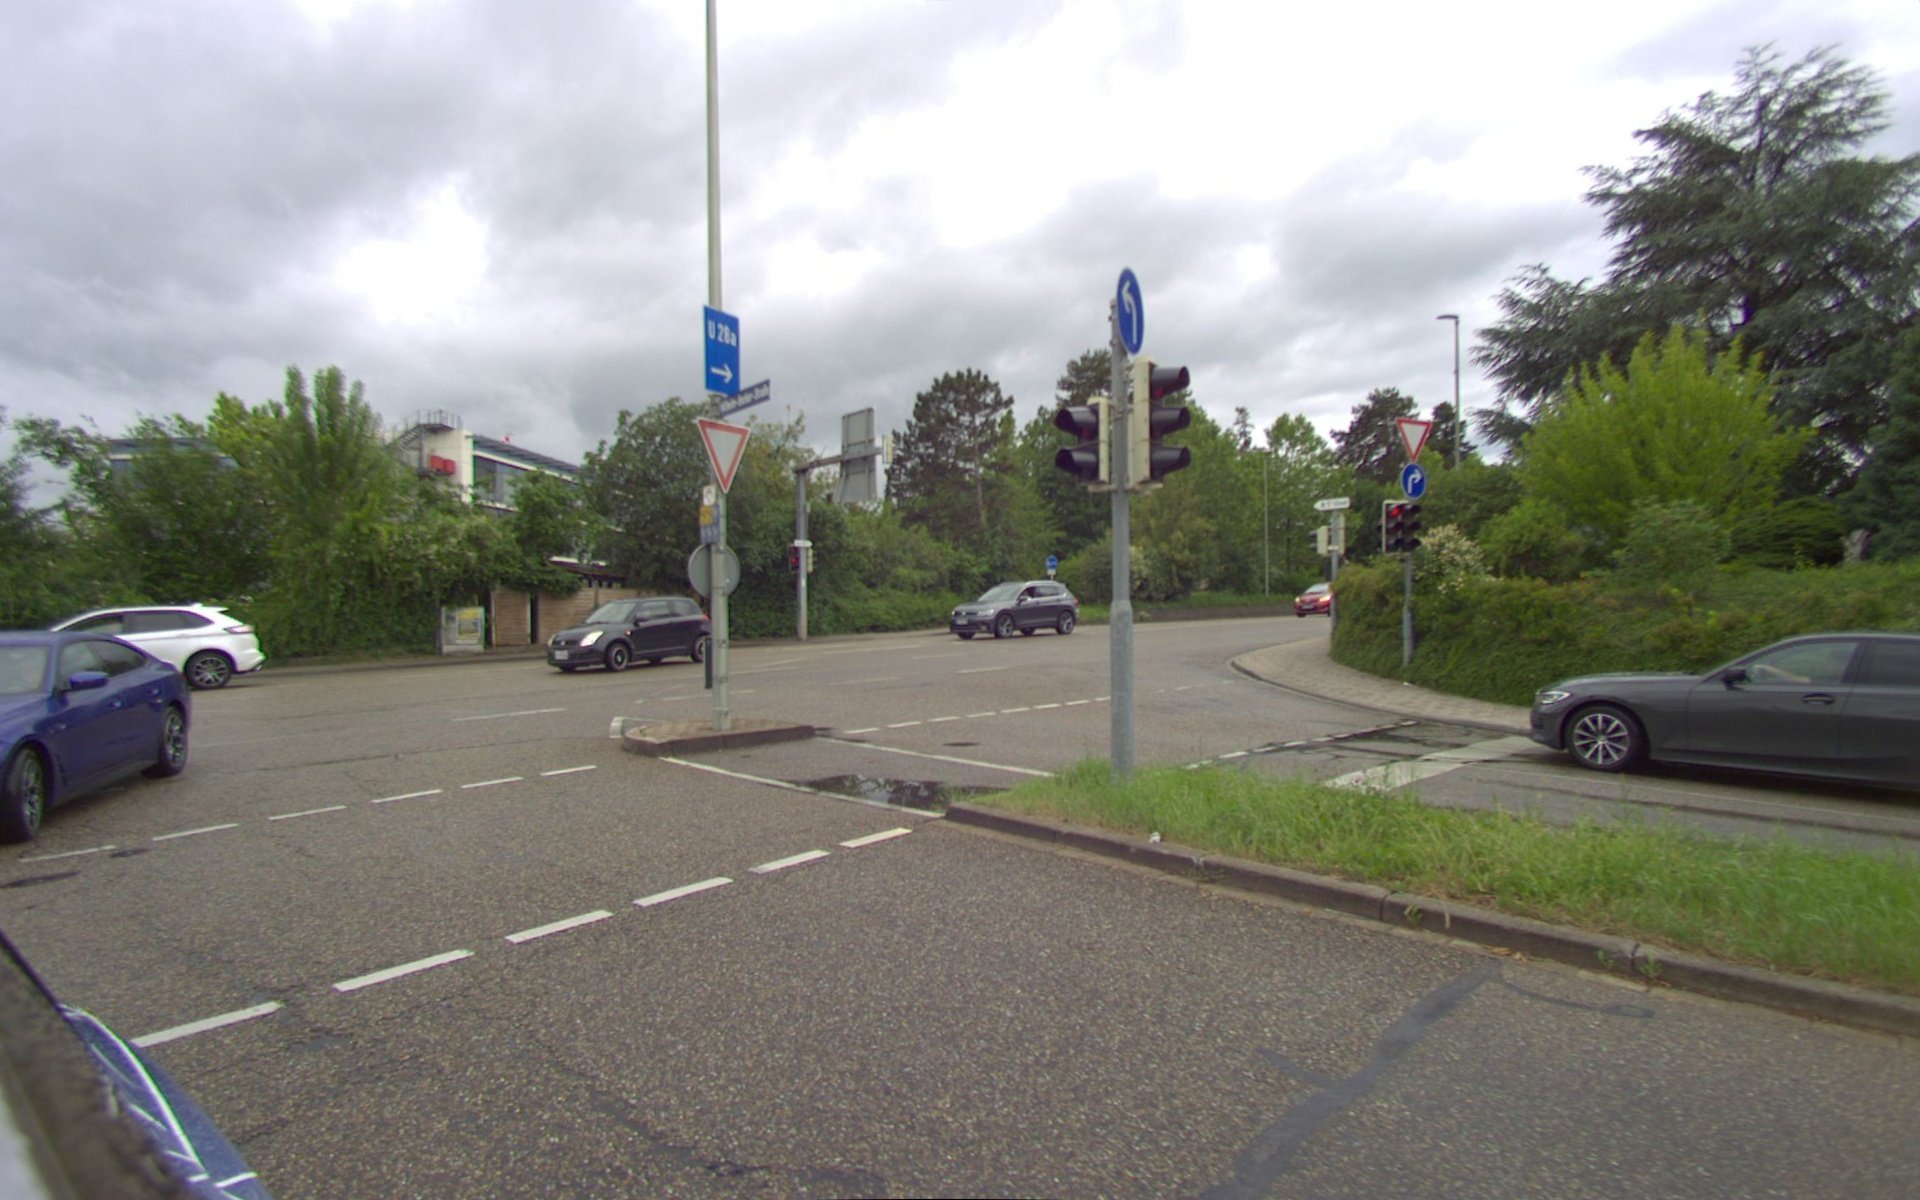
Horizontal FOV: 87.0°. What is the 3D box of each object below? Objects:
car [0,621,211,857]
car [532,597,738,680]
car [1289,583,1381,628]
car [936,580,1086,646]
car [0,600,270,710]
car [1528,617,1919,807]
[{"bbox_3d":[-7.856,0.992,7.977,1.882,1.507,4.363,-1,0,-19],"label":"car"},{"bbox_3d":[-6.887,0.773,21.780,1.743,1.530,3.953,-2,0,35],"label":"car"},{"bbox_3d":[15.877,0.224,42.779,3.937,1.739,1.872,-3,0,-39],"label":"car"},{"bbox_3d":[1.563,0.361,30.196,4.240,1.763,1.972,-3,0,-40],"label":"car"},{"bbox_3d":[-16.278,0.999,19.578,4.606,1.804,2.003,-3,0,-41],"label":"car"},{"bbox_3d":[7.928,0.936,9.108,1.970,1.448,4.551,2,-1,-44],"label":"car"}]
